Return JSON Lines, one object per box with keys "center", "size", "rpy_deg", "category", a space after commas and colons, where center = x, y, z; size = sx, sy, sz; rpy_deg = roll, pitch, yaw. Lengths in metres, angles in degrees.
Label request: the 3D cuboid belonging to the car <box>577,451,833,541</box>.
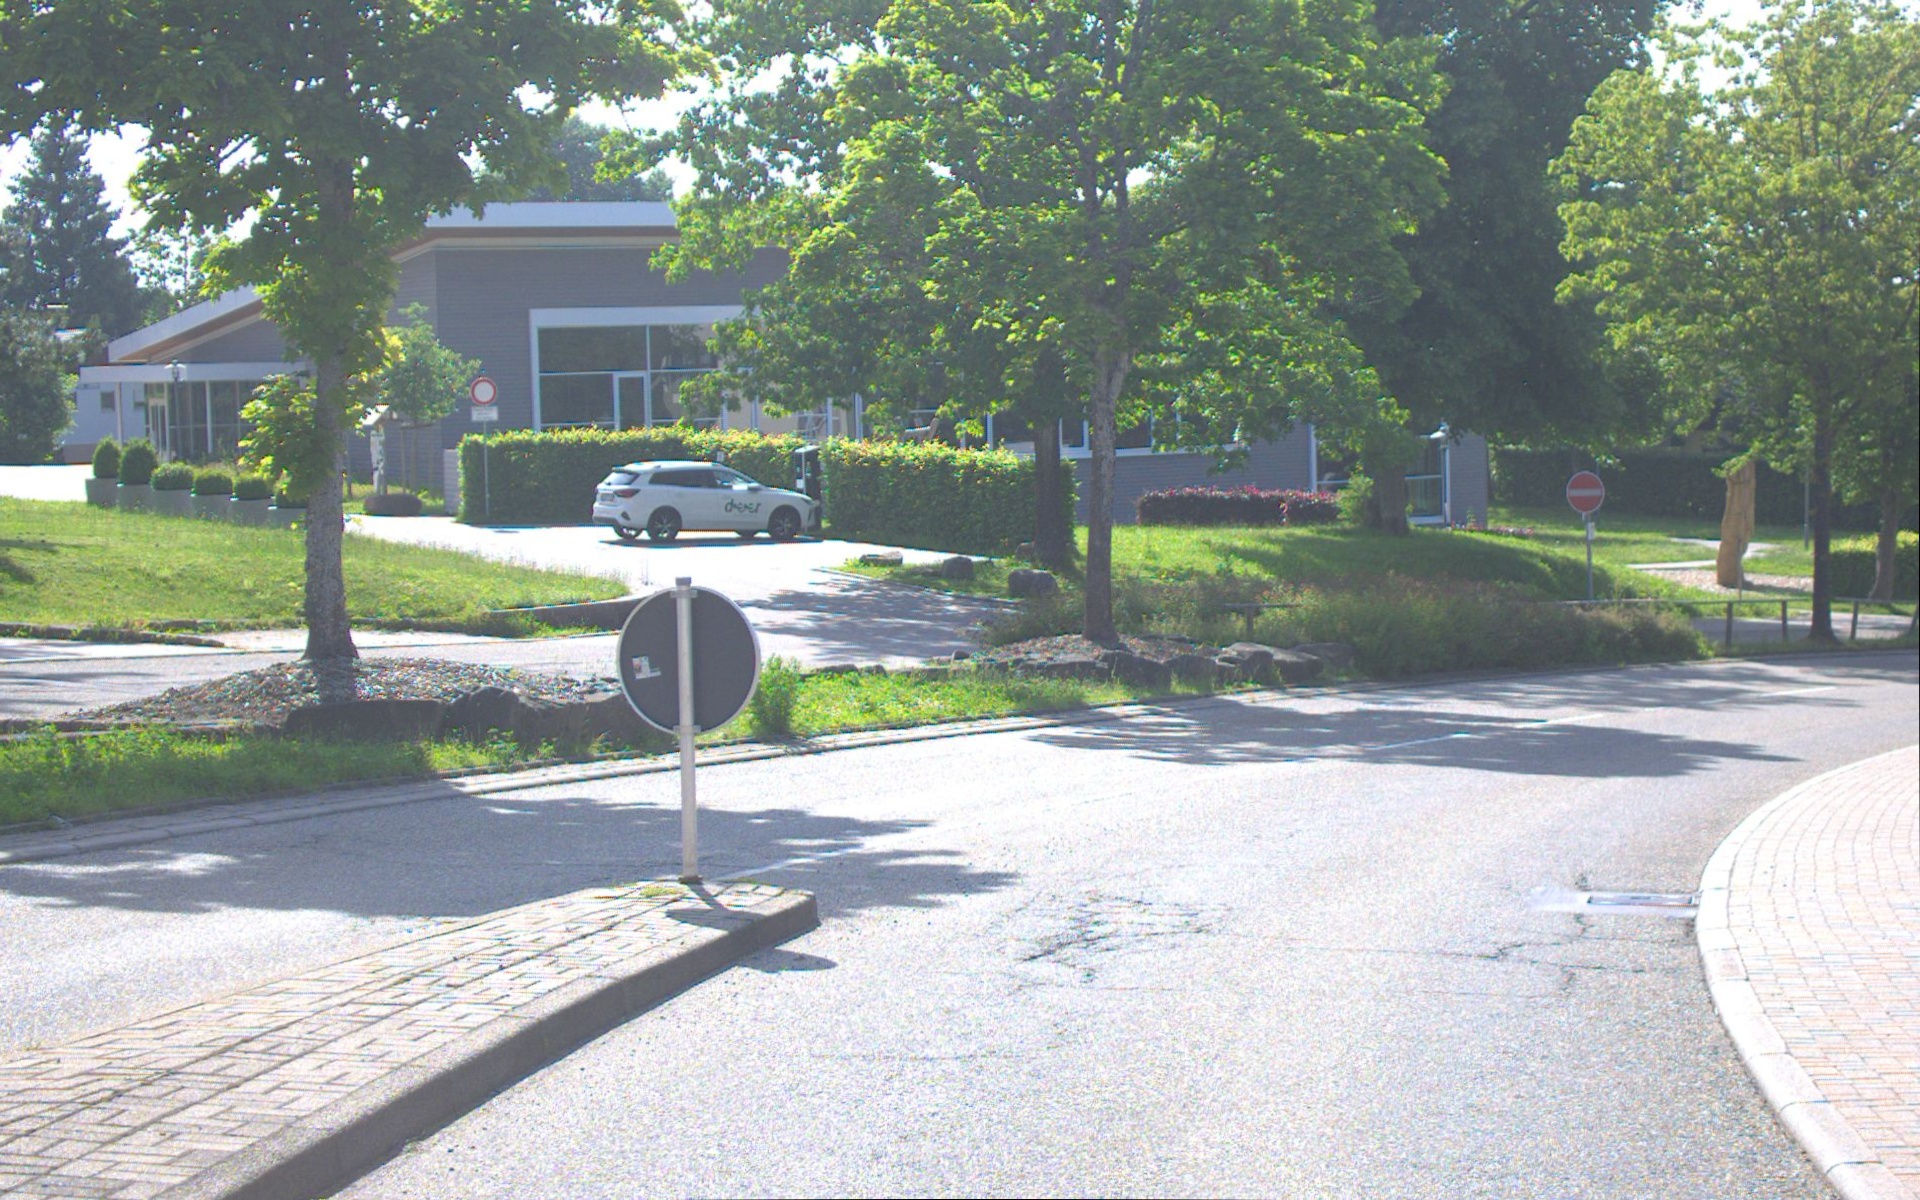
{"center": [-5.119, -2.111, 69.024], "size": [4.715, 1.528, 2.001], "rpy_deg": [-3, 7, -30], "category": "car"}
